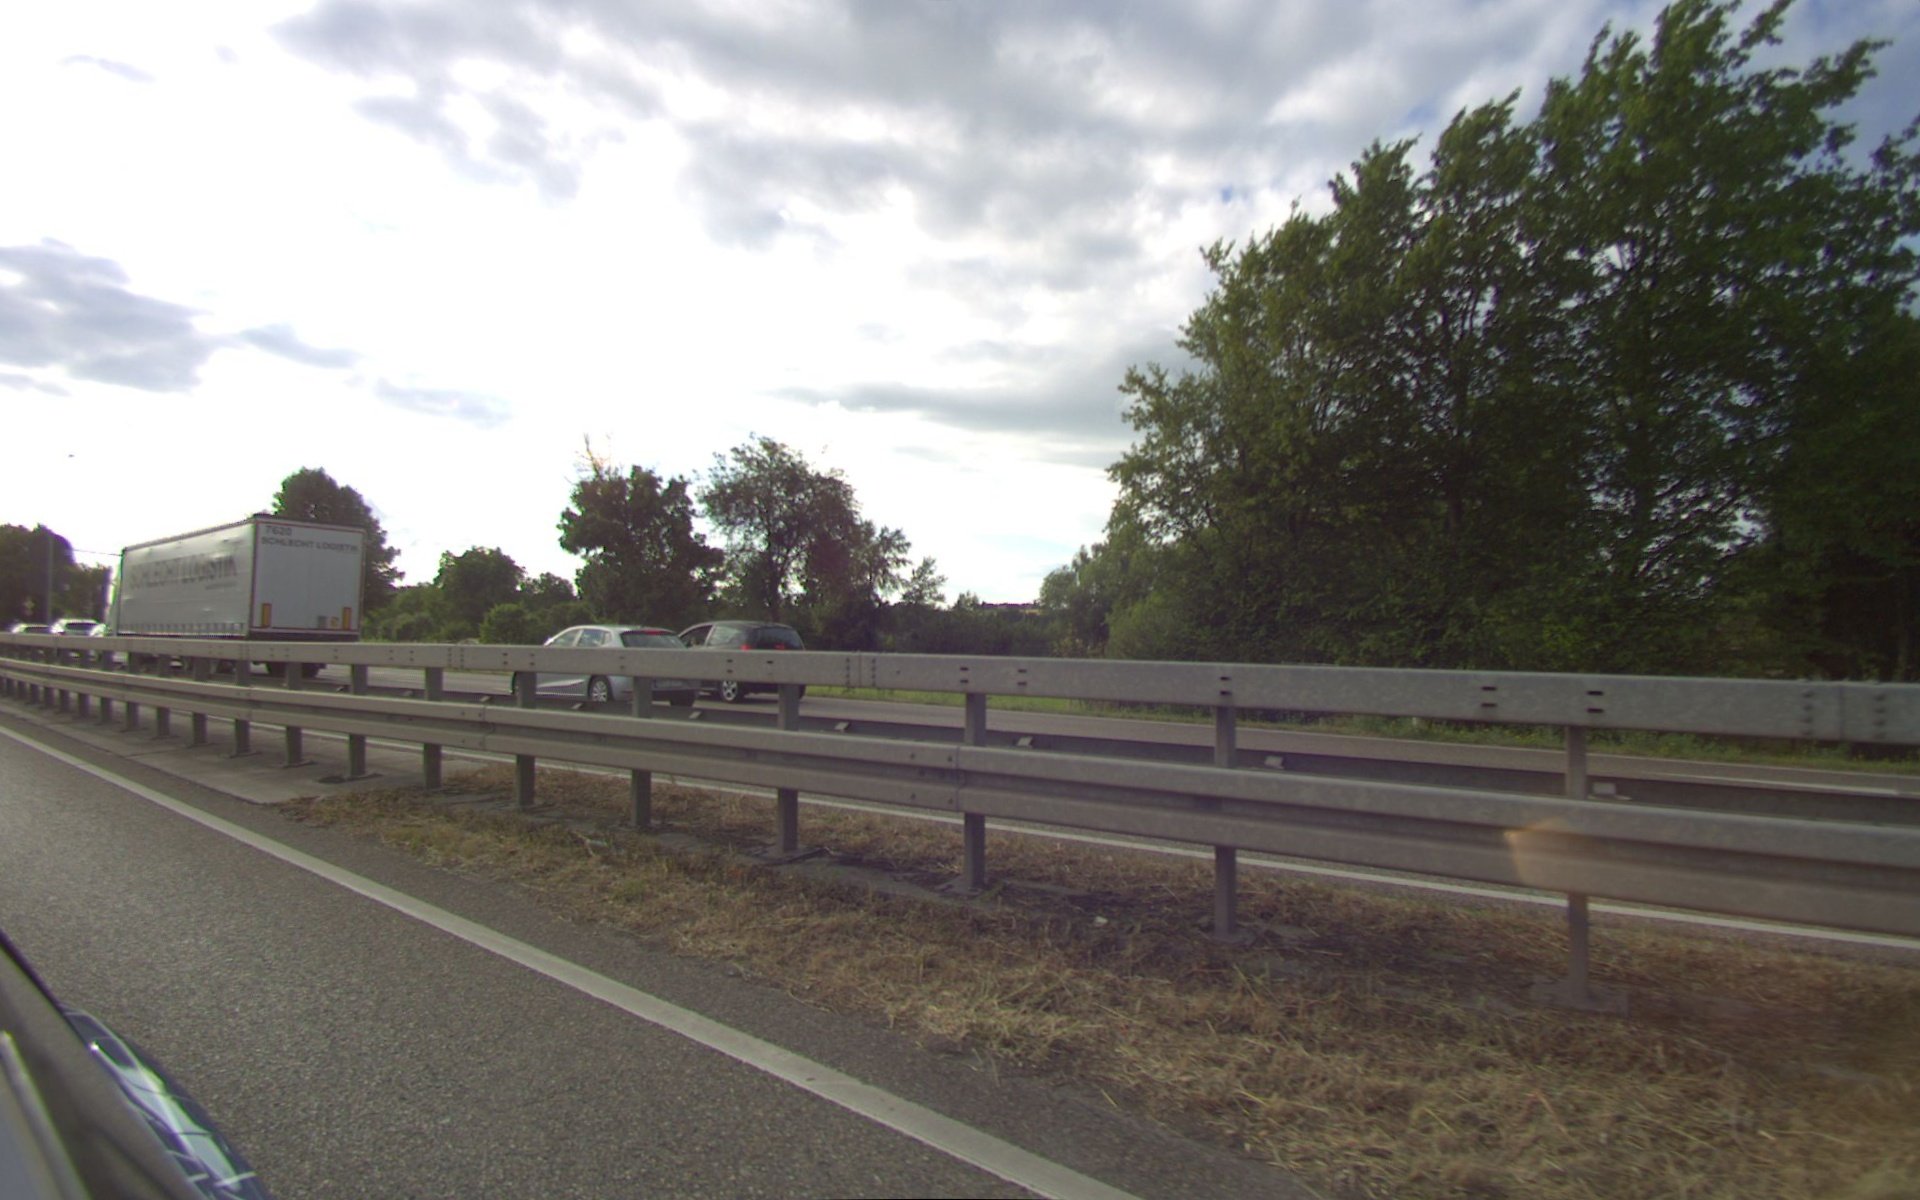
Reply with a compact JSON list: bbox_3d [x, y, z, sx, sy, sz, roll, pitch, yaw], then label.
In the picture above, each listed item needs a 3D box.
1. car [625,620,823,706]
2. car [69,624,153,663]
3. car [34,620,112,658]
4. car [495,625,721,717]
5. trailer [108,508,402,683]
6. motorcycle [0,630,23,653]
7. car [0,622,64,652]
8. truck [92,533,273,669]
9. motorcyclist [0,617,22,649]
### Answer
[{"bbox_3d":[-4.867,1.226,20.634,4.156,1.585,1.771,-1,-3,39],"label":"car"},{"bbox_3d":[-33.493,1.696,39.888,4.156,1.455,1.771,-1,-3,39],"label":"car"},{"bbox_3d":[-39.670,1.732,45.240,4.400,1.622,1.888,-1,-3,39],"label":"car"},{"bbox_3d":[-6.116,1.143,17.392,4.156,1.396,1.771,-1,-3,39],"label":"car"},{"bbox_3d":[-21.369,0.078,30.053,13.903,4.182,3.430,-1,-4,40],"label":"trailer"},{"bbox_3d":[-51.224,2.227,54.431,2.476,1.212,0.907,-1,-3,40],"label":"motorcycle"},{"bbox_3d":[-47.056,1.872,51.093,5.147,1.439,1.888,-1,-3,39],"label":"car"},{"bbox_3d":[-26.372,0.161,34.251,6.044,4.182,3.440,-1,-4,40],"label":"truck"},{"bbox_3d":[-51.225,1.782,54.443,1.275,1.722,0.907,-1,-3,40],"label":"motorcyclist"}]
